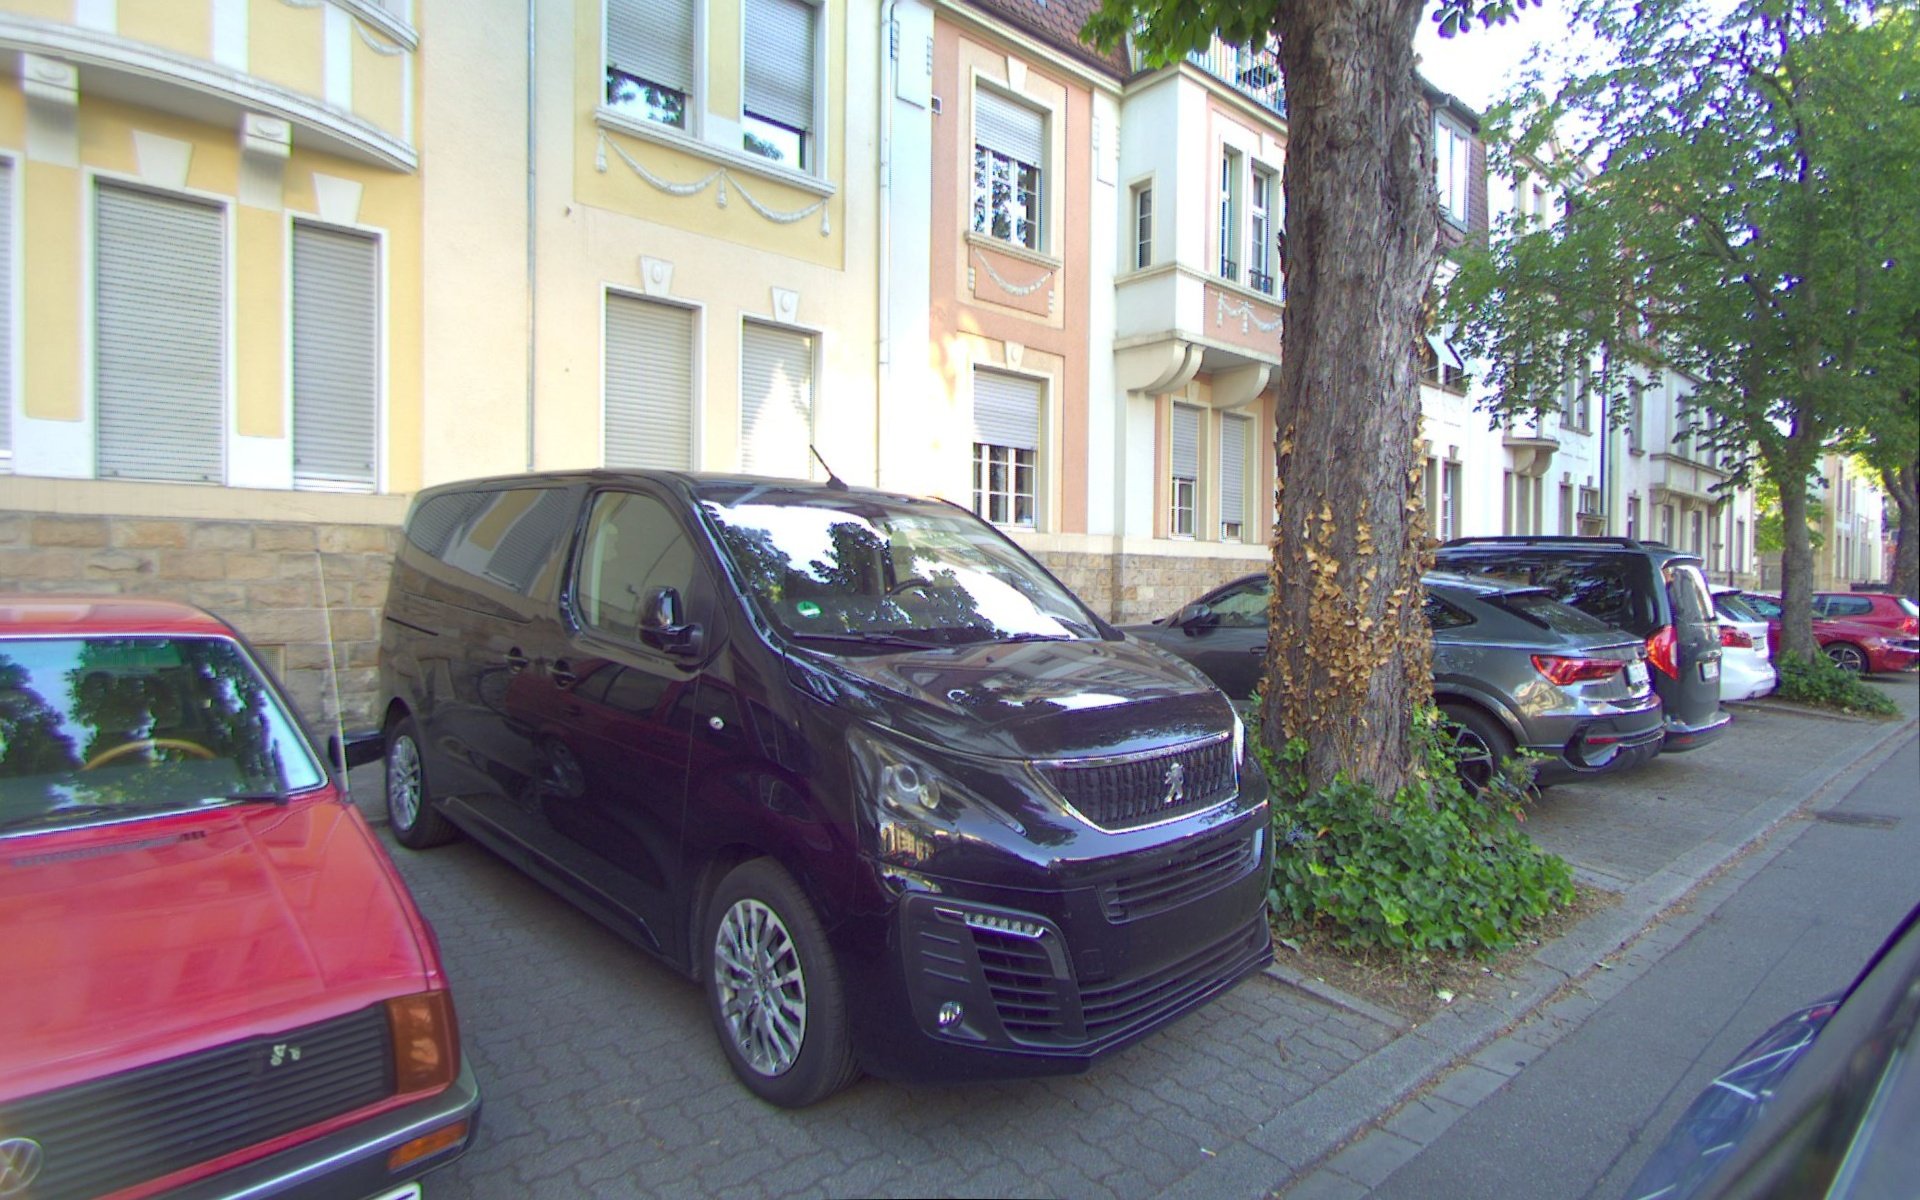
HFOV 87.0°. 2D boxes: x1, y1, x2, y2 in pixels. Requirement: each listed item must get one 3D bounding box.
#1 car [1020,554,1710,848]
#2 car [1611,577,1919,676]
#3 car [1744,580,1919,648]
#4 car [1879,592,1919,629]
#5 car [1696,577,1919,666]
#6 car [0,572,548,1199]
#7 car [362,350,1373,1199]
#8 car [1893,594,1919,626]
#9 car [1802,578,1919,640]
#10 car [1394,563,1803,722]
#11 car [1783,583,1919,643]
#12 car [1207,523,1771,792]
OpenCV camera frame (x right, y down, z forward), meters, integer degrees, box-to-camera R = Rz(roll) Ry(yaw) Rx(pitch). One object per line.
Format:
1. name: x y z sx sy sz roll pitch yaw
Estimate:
1. car: 2.744 0.463 7.697 1.815 1.542 4.513 -1 3 -44
2. car: 14.787 0.384 18.456 1.833 1.470 4.533 0 3 -38
3. car: 21.855 0.300 24.966 1.548 1.484 3.681 0 3 -39
4. car: 31.899 0.385 32.459 1.515 1.164 3.400 0 3 -39
5. car: 16.897 0.355 19.812 1.628 1.499 3.682 0 3 -38
6. car: -2.874 0.625 3.030 1.603 1.332 4.140 -1 3 -44
7. car: -0.939 0.322 4.470 1.867 1.897 4.753 -1 3 -44
8. car: 34.279 0.385 34.522 1.515 1.076 3.400 0 3 -39
9. car: 25.873 0.235 28.024 1.548 1.576 3.681 0 3 -39
10. car: 7.704 0.376 12.519 1.689 1.597 3.948 0 3 -41
11. car: 24.003 0.323 26.400 1.548 1.416 3.681 0 3 -39
12. car: 4.519 0.306 9.140 1.814 1.860 4.116 0 3 -42
